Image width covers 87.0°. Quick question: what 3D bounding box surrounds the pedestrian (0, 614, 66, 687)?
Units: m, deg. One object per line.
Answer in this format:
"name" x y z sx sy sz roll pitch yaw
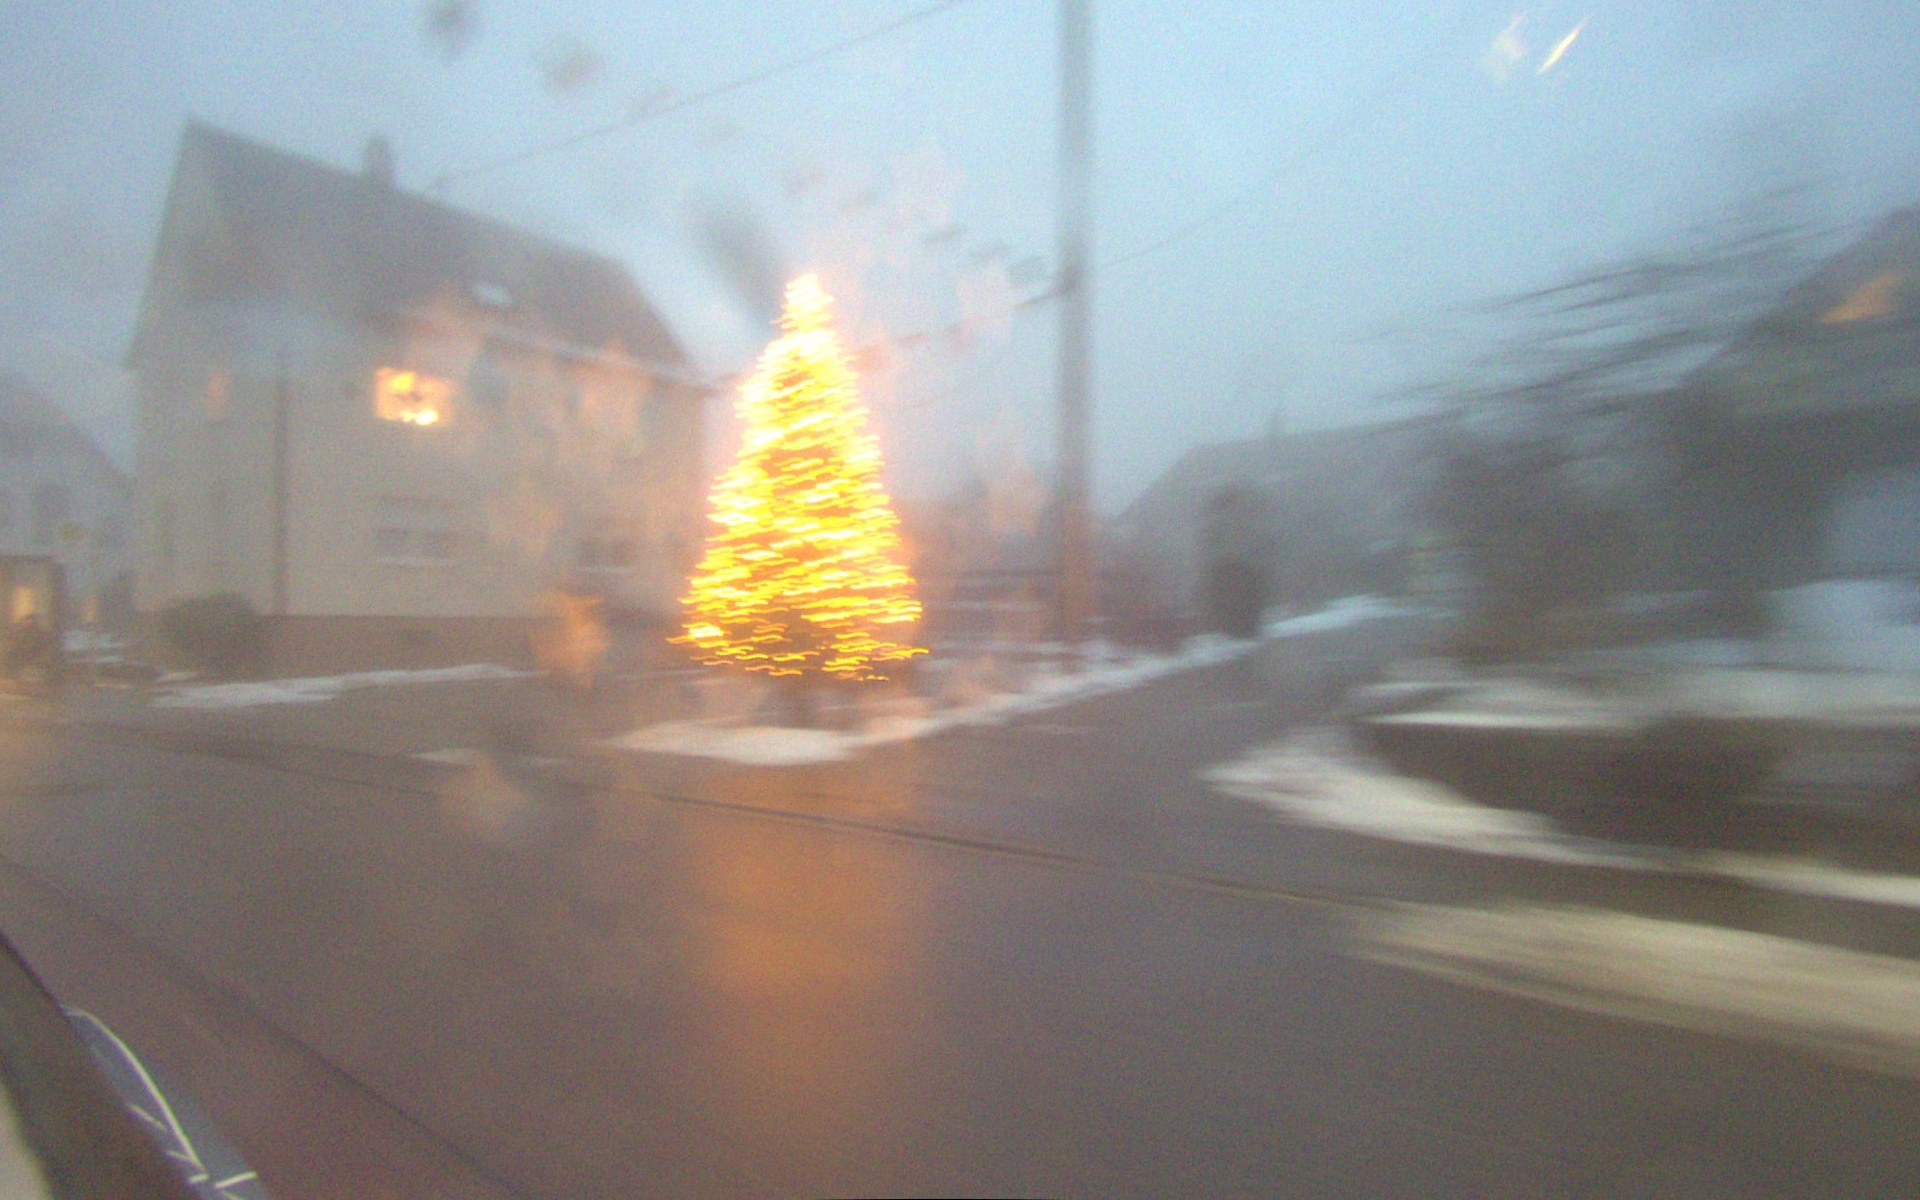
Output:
"pedestrian" -17.721 0.948 19.328 0.658 1.339 0.801 -1 0 33

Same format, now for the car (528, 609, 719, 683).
"car" -7.295 0.945 22.236 1.623 1.383 3.741 -1 0 37
